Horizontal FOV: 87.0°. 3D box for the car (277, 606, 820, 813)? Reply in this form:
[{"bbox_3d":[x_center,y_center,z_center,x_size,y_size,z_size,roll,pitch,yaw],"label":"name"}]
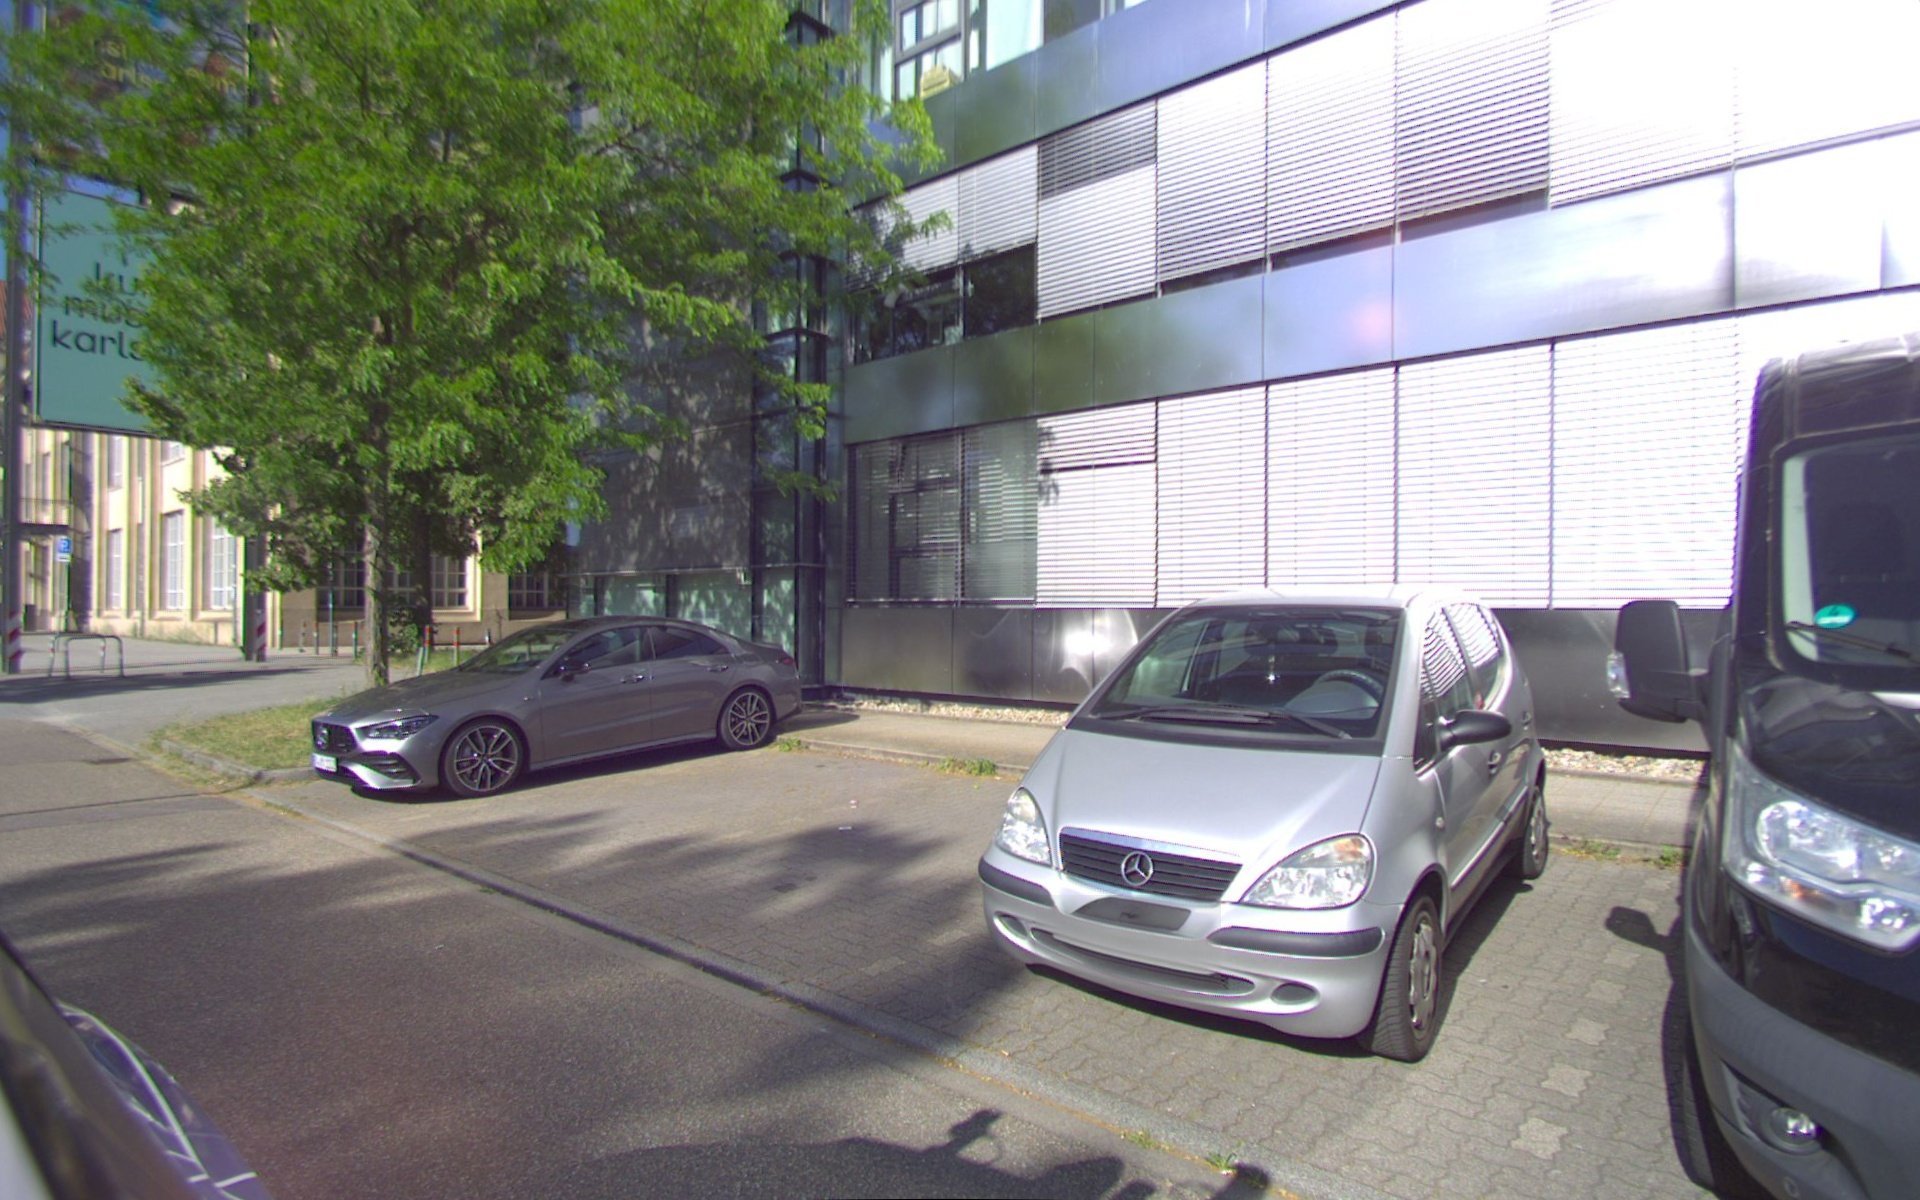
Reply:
[{"bbox_3d":[-3.670,0.821,9.766,1.891,1.360,4.489,0,2,40],"label":"car"}]

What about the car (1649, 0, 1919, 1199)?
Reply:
[{"bbox_3d":[3.865,0.093,3.246,2.230,2.642,5.400,0,0,40],"label":"car"}]

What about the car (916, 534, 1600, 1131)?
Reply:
[{"bbox_3d":[1.751,0.687,4.919,1.889,1.657,3.795,-4,-2,38],"label":"car"}]
